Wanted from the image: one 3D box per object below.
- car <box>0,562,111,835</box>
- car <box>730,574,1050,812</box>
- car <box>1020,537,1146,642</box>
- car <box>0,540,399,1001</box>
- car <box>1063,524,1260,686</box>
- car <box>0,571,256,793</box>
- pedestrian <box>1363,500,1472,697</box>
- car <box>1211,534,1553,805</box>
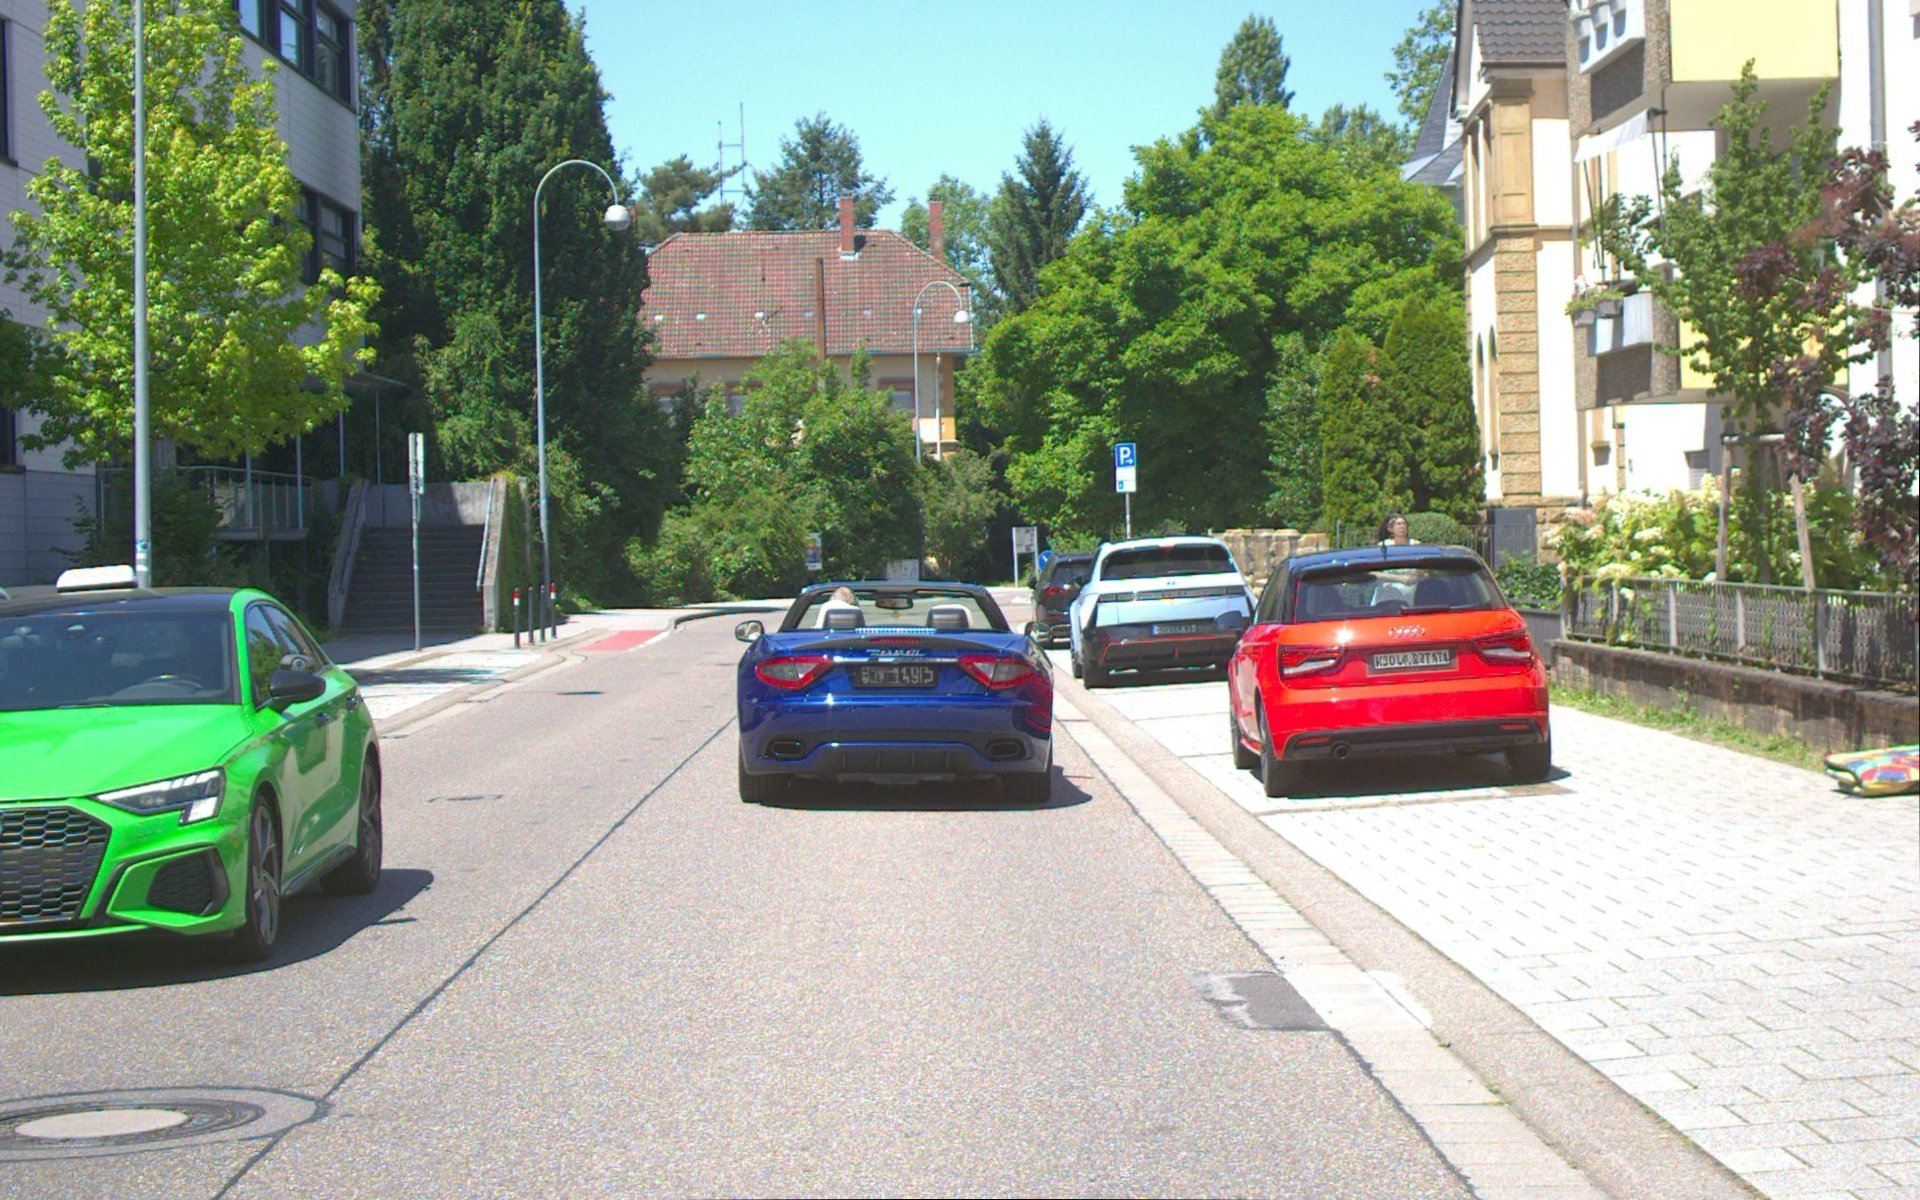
[{"bbox_3d":[-6.277,0.562,19.602,1.822,1.507,4.290,-1,1,0],"label":"car"},{"bbox_3d":[-0.427,0.514,22.008,1.826,1.332,4.700,0,1,-1],"label":"car"},{"bbox_3d":[1.858,-0.194,53.058,1.631,1.441,4.398,-4,1,-1],"label":"car"},{"bbox_3d":[-3.550,0.584,14.051,1.822,1.583,4.101,-2,1,0],"label":"car"},{"bbox_3d":[2.191,0.016,38.440,1.843,1.614,4.427,-3,1,0],"label":"car"},{"bbox_3d":[-6.311,0.527,24.464,1.748,1.404,3.933,-1,1,1],"label":"car"},{"bbox_3d":[4.029,-0.020,30.298,0.740,1.664,0.706,-4,1,-2],"label":"pedestrian"},{"bbox_3d":[2.546,0.359,21.511,1.603,1.436,3.853,-4,1,1],"label":"car"}]
